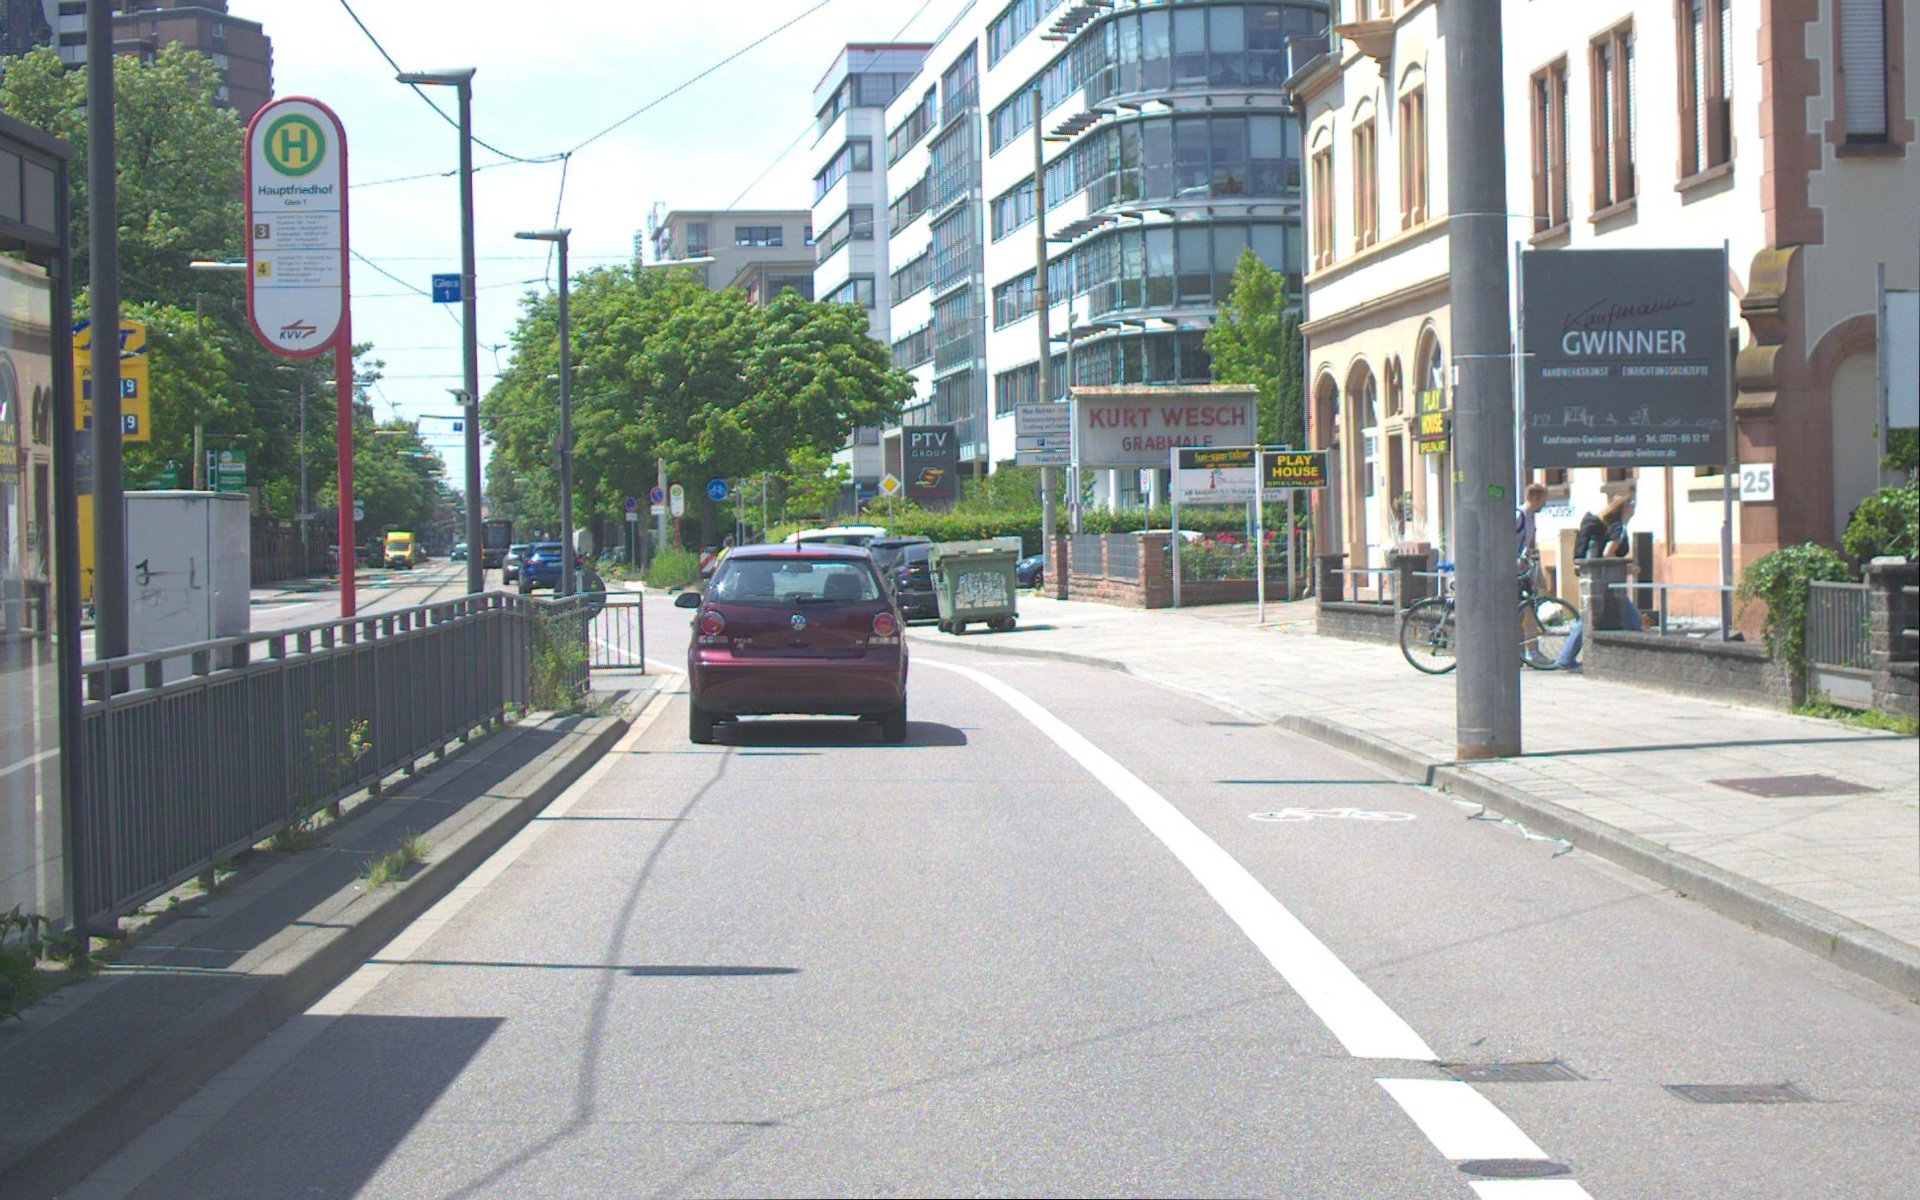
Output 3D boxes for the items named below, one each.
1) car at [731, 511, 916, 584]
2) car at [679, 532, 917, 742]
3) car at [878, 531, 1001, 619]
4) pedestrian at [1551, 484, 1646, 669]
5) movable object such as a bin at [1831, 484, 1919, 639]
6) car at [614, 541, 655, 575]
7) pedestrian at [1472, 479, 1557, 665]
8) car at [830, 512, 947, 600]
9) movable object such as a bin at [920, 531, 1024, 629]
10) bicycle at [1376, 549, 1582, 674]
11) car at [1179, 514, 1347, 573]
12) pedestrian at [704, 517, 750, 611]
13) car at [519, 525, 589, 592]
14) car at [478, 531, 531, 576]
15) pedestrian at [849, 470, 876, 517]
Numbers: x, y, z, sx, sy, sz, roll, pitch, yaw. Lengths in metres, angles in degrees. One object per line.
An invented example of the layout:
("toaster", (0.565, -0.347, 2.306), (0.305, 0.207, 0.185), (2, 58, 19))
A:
("car", (-3.485, -1.349, 87.467), (4.537, 1.793, 2.001), (-1, 1, -7))
("car", (-1.182, 0.226, 26.530), (1.619, 1.481, 4.000), (0, 1, 0))
("car", (-0.427, -0.483, 65.875), (1.772, 1.543, 4.468), (-3, 1, -7))
("pedestrian", (5.918, -0.220, 31.889), (0.824, 1.685, 0.589), (-1, 1, 8))
("movable object such as a bin", (9.517, -0.404, 34.239), (1.329, 1.494, 1.046), (-3, 1, -2))
("car", (-15.319, -1.984, 161.688), (1.688, 1.497, 3.628), (-3, 1, -8))
("pedestrian", (5.326, -0.273, 33.019), (0.688, 1.766, 0.503), (0, 1, 22))
("car", (-1.543, -0.931, 71.890), (1.924, 1.687, 5.083), (-3, 1, -6))
("movable object such as a bin", (0.182, -0.326, 54.539), (1.391, 1.450, 1.139), (-3, 1, -11))
("bicycle", (4.944, 0.113, 32.748), (1.804, 1.123, 0.589), (-2, 0, 26))
("car", (7.961, -1.481, 90.416), (4.148, 1.454, 1.818), (-1, 1, -4))
("pedestrian", (-4.913, -0.758, 72.615), (0.780, 1.953, 0.590), (-2, 1, -22))
("car", (-12.416, -1.280, 104.883), (1.993, 2.007, 4.001), (0, 1, -8))
("car", (-18.020, -1.856, 136.209), (1.993, 1.733, 4.001), (-1, 1, -7))
("pedestrian", (-3.674, -4.011, 129.115), (0.874, 1.709, 1.089), (-3, 1, 2))
